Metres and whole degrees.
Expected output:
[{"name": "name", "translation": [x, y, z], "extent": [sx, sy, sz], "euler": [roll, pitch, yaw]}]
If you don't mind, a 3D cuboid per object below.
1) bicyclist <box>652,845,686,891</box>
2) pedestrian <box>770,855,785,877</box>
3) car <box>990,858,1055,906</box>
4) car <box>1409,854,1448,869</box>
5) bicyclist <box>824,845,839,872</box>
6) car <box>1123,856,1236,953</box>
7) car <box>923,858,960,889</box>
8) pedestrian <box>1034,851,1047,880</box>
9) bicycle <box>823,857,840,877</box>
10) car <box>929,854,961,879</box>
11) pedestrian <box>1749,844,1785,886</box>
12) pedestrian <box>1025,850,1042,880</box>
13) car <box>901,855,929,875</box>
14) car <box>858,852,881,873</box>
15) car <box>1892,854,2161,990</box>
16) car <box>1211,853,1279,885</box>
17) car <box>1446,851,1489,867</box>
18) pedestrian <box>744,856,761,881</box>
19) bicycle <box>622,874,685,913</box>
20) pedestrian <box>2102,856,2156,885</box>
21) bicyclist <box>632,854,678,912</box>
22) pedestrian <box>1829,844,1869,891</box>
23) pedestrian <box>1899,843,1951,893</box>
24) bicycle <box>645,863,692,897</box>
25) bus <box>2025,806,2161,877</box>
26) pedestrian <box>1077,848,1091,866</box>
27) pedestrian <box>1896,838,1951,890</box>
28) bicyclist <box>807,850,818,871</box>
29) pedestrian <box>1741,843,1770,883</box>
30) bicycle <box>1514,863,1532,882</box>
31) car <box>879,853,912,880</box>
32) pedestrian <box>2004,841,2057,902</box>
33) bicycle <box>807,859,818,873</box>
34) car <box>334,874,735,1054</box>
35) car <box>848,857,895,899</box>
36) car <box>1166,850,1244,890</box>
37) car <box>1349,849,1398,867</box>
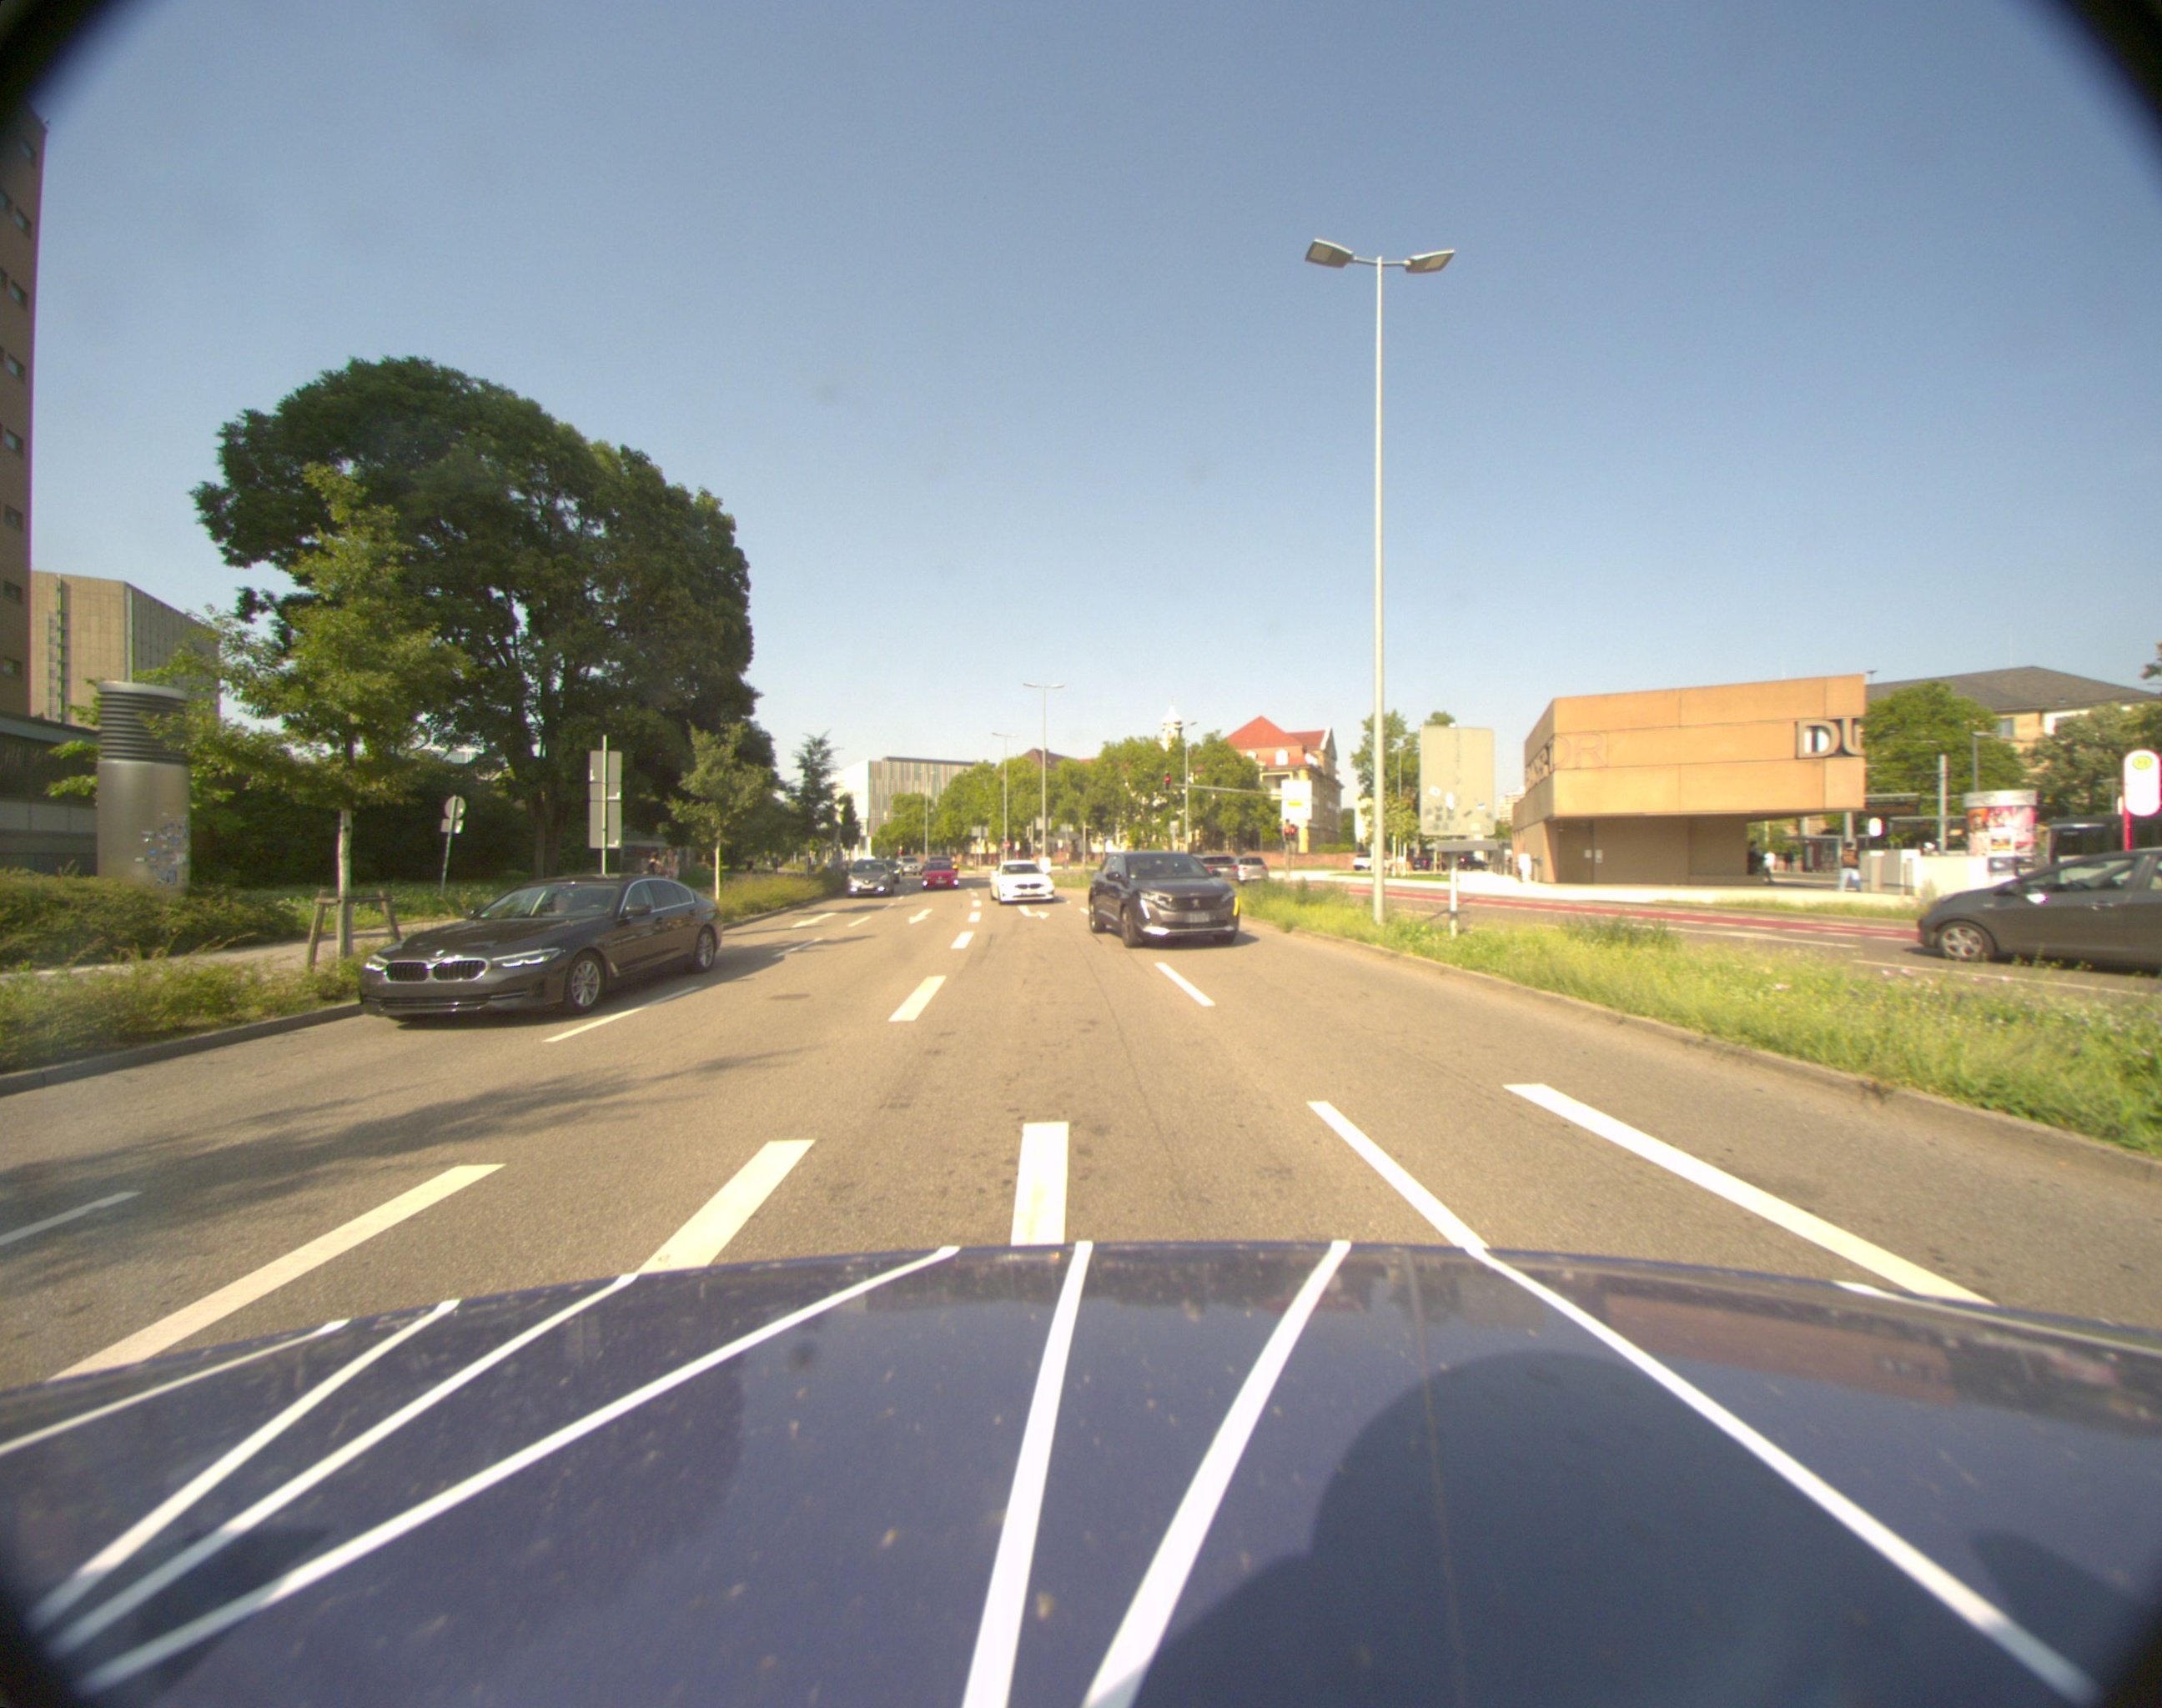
[{"name": "bicyclist", "translation": [-14.622, 0.479, 26.970], "extent": [0.773, 1.584, 0.923], "euler": [-1, 1, -10]}, {"name": "pedestrian", "translation": [-24.643, 0.993, 61.663], "extent": [0.961, 1.772, 1.001], "euler": [2, 0, -15]}, {"name": "car", "translation": [-2.153, 0.908, 26.704], "extent": [1.784, 1.474, 4.528], "euler": [0, 0, -11]}, {"name": "car", "translation": [34.639, 0.721, 75.669], "extent": [3.856, 1.489, 1.621], "euler": [-1, 1, -32]}, {"name": "bicyclist", "translation": [-14.799, 0.288, 45.065], "extent": [0.774, 1.583, 0.923], "euler": [0, 0, -13]}, {"name": "car", "translation": [1.638, 0.784, 13.876], "extent": [1.686, 1.483, 4.373], "euler": [0, 0, 3]}, {"name": "car", "translation": [-7.254, 0.979, 39.159], "extent": [1.689, 1.483, 4.367], "euler": [0, 0, -13]}, {"name": "pedestrian", "translation": [-2.356, 0.668, 44.423], "extent": [0.669, 1.689, 0.691], "euler": [0, 0, -13]}, {"name": "bicycle", "translation": [-14.820, 0.758, 45.164], "extent": [0.774, 1.111, 2.301], "euler": [0, 0, -13]}, {"name": "car", "translation": [-9.661, 0.863, 53.649], "extent": [1.785, 1.682, 4.527], "euler": [0, 0, -15]}, {"name": "pedestrian", "translation": [27.853, 0.439, 30.866], "extent": [0.864, 1.695, 0.733], "euler": [0, 1, 22]}, {"name": "pedestrian", "translation": [-2.608, 0.590, 41.719], "extent": [0.667, 1.644, 0.780], "euler": [0, 0, 23]}, {"name": "car", "translation": [-15.228, 1.035, 69.458], "extent": [1.785, 1.710, 4.526], "euler": [-3, 0, -21]}, {"name": "car", "translation": [-20.590, 0.824, 73.814], "extent": [1.690, 1.930, 4.364], "euler": [0, 0, -22]}, {"name": "car", "translation": [12.505, 0.734, 8.922], "extent": [1.894, 1.443, 3.673], "euler": [0, 0, -6]}, {"name": "car", "translation": [7.806, 0.667, 36.625], "extent": [1.819, 1.425, 4.221], "euler": [0, 0, -9]}, {"name": "car", "translation": [40.245, 0.524, 79.110], "extent": [4.380, 1.623, 1.995], "euler": [0, 0, -33]}, {"name": "pedestrian", "translation": [-19.025, 0.811, 44.033], "extent": [0.727, 1.435, 0.856], "euler": [0, 1, -11]}, {"name": "bicycle", "translation": [-11.512, 1.038, 20.540], "extent": [0.721, 0.954, 1.921], "euler": [0, 0, -3]}, {"name": "pedestrian", "translation": [41.631, 0.638, 30.191], "extent": [1.028, 1.126, 0.739], "euler": [0, 1, 18]}, {"name": "bicyclist", "translation": [-11.516, 0.768, 20.576], "extent": [0.721, 1.504, 1.004], "euler": [0, 1, -4]}, {"name": "pedestrian", "translation": [27.228, 0.476, 26.960], "extent": [0.717, 1.621, 0.858], "euler": [0, 1, 24]}, {"name": "pedestrian", "translation": [27.127, 0.434, 24.442], "extent": [0.863, 1.550, 0.992], "euler": [0, 1, 33]}, {"name": "bicycle", "translation": [-14.614, 0.907, 26.978], "extent": [0.774, 1.111, 2.301], "euler": [-1, 0, -10]}, {"name": "bus", "translation": [47.795, -0.540, 33.050], "extent": [3.291, 2.960, 12.819], "euler": [0, 0, 26]}, {"name": "pedestrian", "translation": [0.348, 0.284, 85.360], "extent": [1.080, 2.002, 1.316], "euler": [-1, 1, -22]}, {"name": "pedestrian", "translation": [28.011, 0.323, 25.268], "extent": [0.990, 1.663, 0.865], "euler": [0, 1, -15]}, {"name": "bicyclist", "translation": [-21.483, 0.530, 60.808], "extent": [0.774, 1.666, 0.922], "euler": [-1, 1, -22]}, {"name": "pedestrian", "translation": [29.759, 0.380, 33.540], "extent": [0.717, 1.727, 0.858], "euler": [0, 1, 24]}, {"name": "bicycle", "translation": [20.499, 0.860, 35.237], "extent": [0.591, 0.833, 1.550], "euler": [-3, -1, 27]}, {"name": "car", "translation": [-12.086, 0.820, 49.245], "extent": [1.942, 1.597, 4.528], "euler": [-1, 0, -15]}, {"name": "pedestrian", "translation": [28.641, 0.513, 22.926], "extent": [0.699, 1.790, 0.781], "euler": [0, 1, 24]}, {"name": "bicycle", "translation": [-21.450, 0.958, 60.716], "extent": [0.774, 1.111, 2.299], "euler": [-1, 0, -21]}, {"name": "car", "translation": [-6.067, 1.069, 9.311], "extent": [1.687, 1.483, 4.671], "euler": [-1, 0, -3]}, {"name": "car", "translation": [-9.029, 0.997, 32.847], "extent": [1.784, 1.596, 4.416], "euler": [-3, 0, -15]}, {"name": "car", "translation": [5.188, 0.629, 32.430], "extent": [1.700, 1.608, 4.456], "euler": [0, 0, -14]}, {"name": "car", "translation": [27.453, 0.382, 71.275], "extent": [4.380, 1.624, 1.995], "euler": [0, 0, -32]}]
